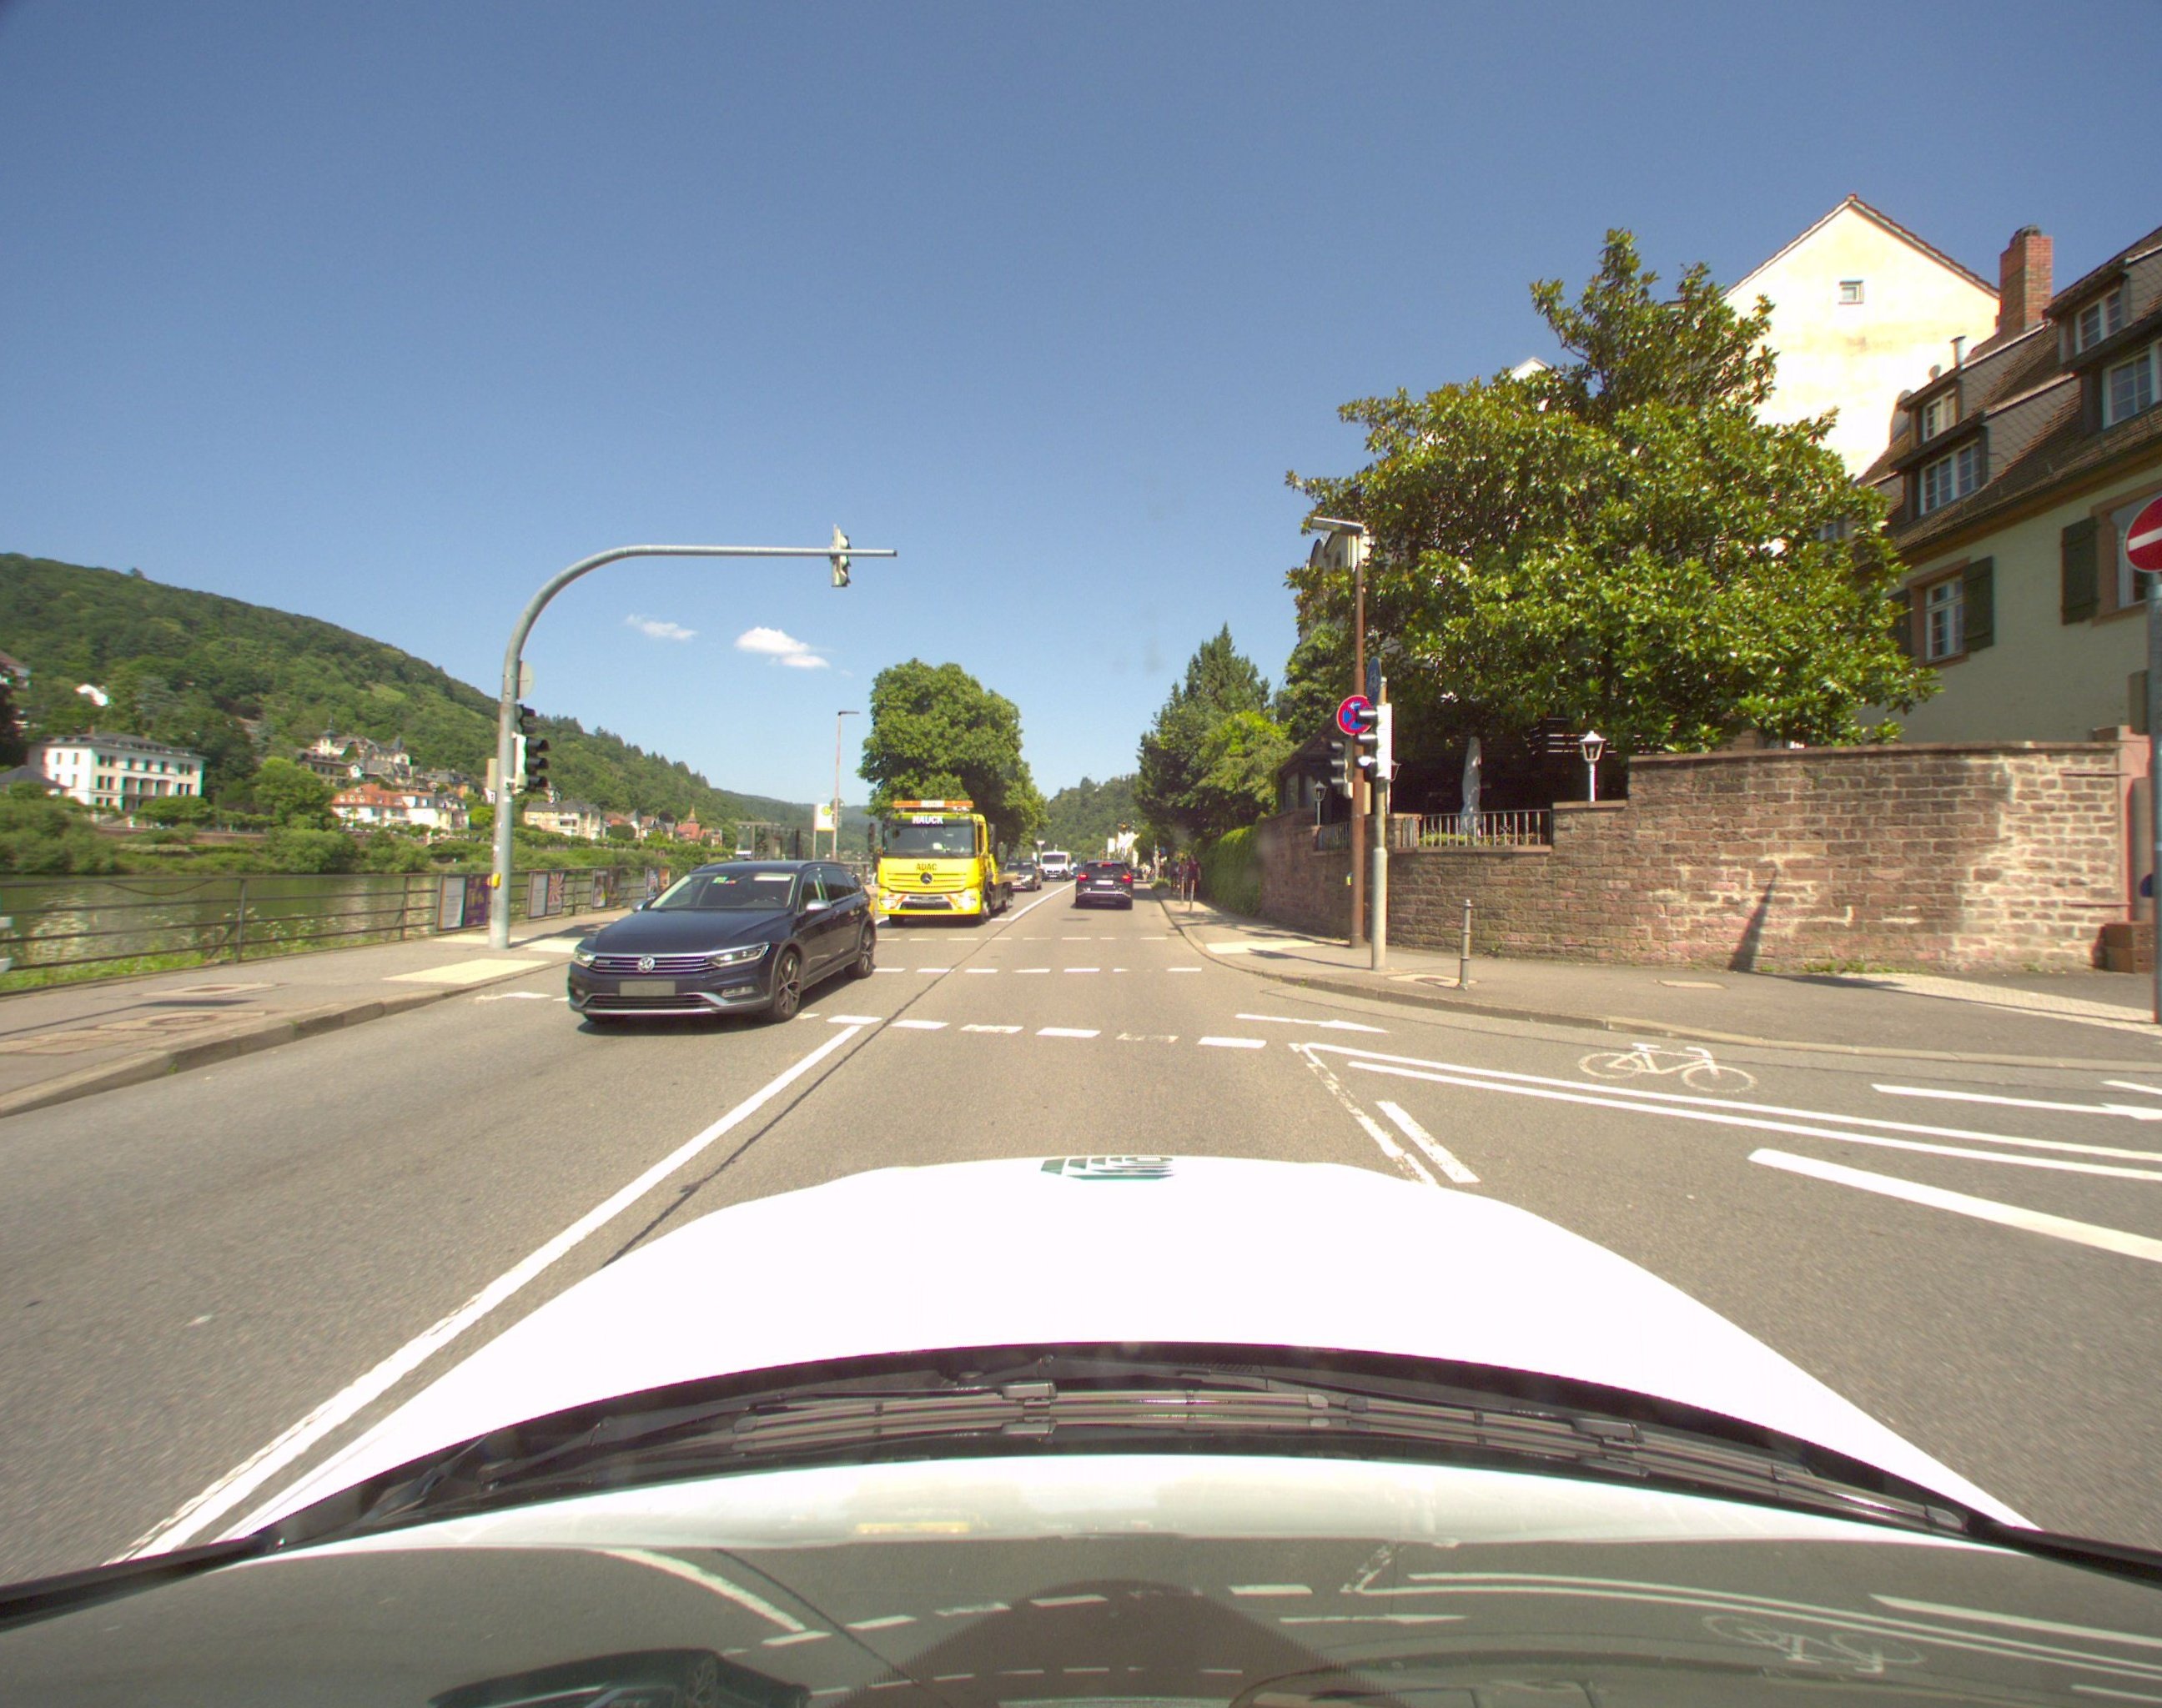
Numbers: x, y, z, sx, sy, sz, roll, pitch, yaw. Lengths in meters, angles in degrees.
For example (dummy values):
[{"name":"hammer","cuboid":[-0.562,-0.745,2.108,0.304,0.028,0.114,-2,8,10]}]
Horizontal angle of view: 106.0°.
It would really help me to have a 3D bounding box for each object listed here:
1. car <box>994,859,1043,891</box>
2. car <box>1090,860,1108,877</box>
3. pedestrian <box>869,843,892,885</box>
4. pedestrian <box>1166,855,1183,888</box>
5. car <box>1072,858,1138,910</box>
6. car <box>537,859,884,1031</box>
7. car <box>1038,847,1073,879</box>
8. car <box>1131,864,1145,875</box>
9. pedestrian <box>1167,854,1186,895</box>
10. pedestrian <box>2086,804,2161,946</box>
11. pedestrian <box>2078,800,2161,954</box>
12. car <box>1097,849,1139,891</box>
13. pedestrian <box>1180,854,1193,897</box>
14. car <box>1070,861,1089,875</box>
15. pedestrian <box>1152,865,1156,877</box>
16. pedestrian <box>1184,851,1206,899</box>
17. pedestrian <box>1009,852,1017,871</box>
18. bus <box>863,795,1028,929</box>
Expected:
[{"name":"car","cuboid":[-2.906,0.957,38.569,1.808,1.398,4.349,-1,0,2]},{"name":"car","cuboid":[2.838,2.260,126.505,2.484,2.467,5.623,0,-2,3]},{"name":"pedestrian","cuboid":[-9.330,0.488,37.979,0.750,1.918,1.010,0,-3,3]},{"name":"pedestrian","cuboid":[4.817,0.900,41.919,0.725,1.650,0.882,-2,-1,3]},{"name":"car","cuboid":[0.851,0.947,26.399,1.848,1.524,4.006,1,-1,5]},{"name":"car","cuboid":[-3.603,0.769,8.954,1.803,1.406,4.356,0,0,0]},{"name":"car","cuboid":[-1.825,0.636,60.317,2.088,2.302,5.872,0,0,2]},{"name":"car","cuboid":[8.363,2.303,119.401,1.985,1.453,4.011,0,-2,3]},{"name":"pedestrian","cuboid":[3.875,0.815,33.121,0.732,1.634,0.921,0,0,2]},{"name":"pedestrian","cuboid":[13.191,0.256,10.078,0.699,1.706,0.730,-1,-1,29]},{"name":"pedestrian","cuboid":[12.197,0.254,9.325,0.716,1.706,0.712,-1,-1,24]},{"name":"car","cuboid":[1.840,0.784,40.997,1.986,2.014,4.002,0,-1,2]},{"name":"pedestrian","cuboid":[4.052,0.820,31.298,0.454,1.606,0.580,0,-1,2]},{"name":"car","cuboid":[-0.167,1.554,88.741,1.891,1.490,3.798,0,-2,3]},{"name":"pedestrian","cuboid":[9.442,2.268,105.786,0.487,1.559,0.462,0,-3,3]},{"name":"pedestrian","cuboid":[4.162,0.753,29.812,0.678,1.742,0.914,1,1,2]},{"name":"pedestrian","cuboid":[-7.100,0.804,84.976,0.637,2.014,0.731,0,-3,3]},{"name":"bus","cuboid":[-3.237,0.225,21.968,2.586,2.897,8.452,1,-1,3]}]
